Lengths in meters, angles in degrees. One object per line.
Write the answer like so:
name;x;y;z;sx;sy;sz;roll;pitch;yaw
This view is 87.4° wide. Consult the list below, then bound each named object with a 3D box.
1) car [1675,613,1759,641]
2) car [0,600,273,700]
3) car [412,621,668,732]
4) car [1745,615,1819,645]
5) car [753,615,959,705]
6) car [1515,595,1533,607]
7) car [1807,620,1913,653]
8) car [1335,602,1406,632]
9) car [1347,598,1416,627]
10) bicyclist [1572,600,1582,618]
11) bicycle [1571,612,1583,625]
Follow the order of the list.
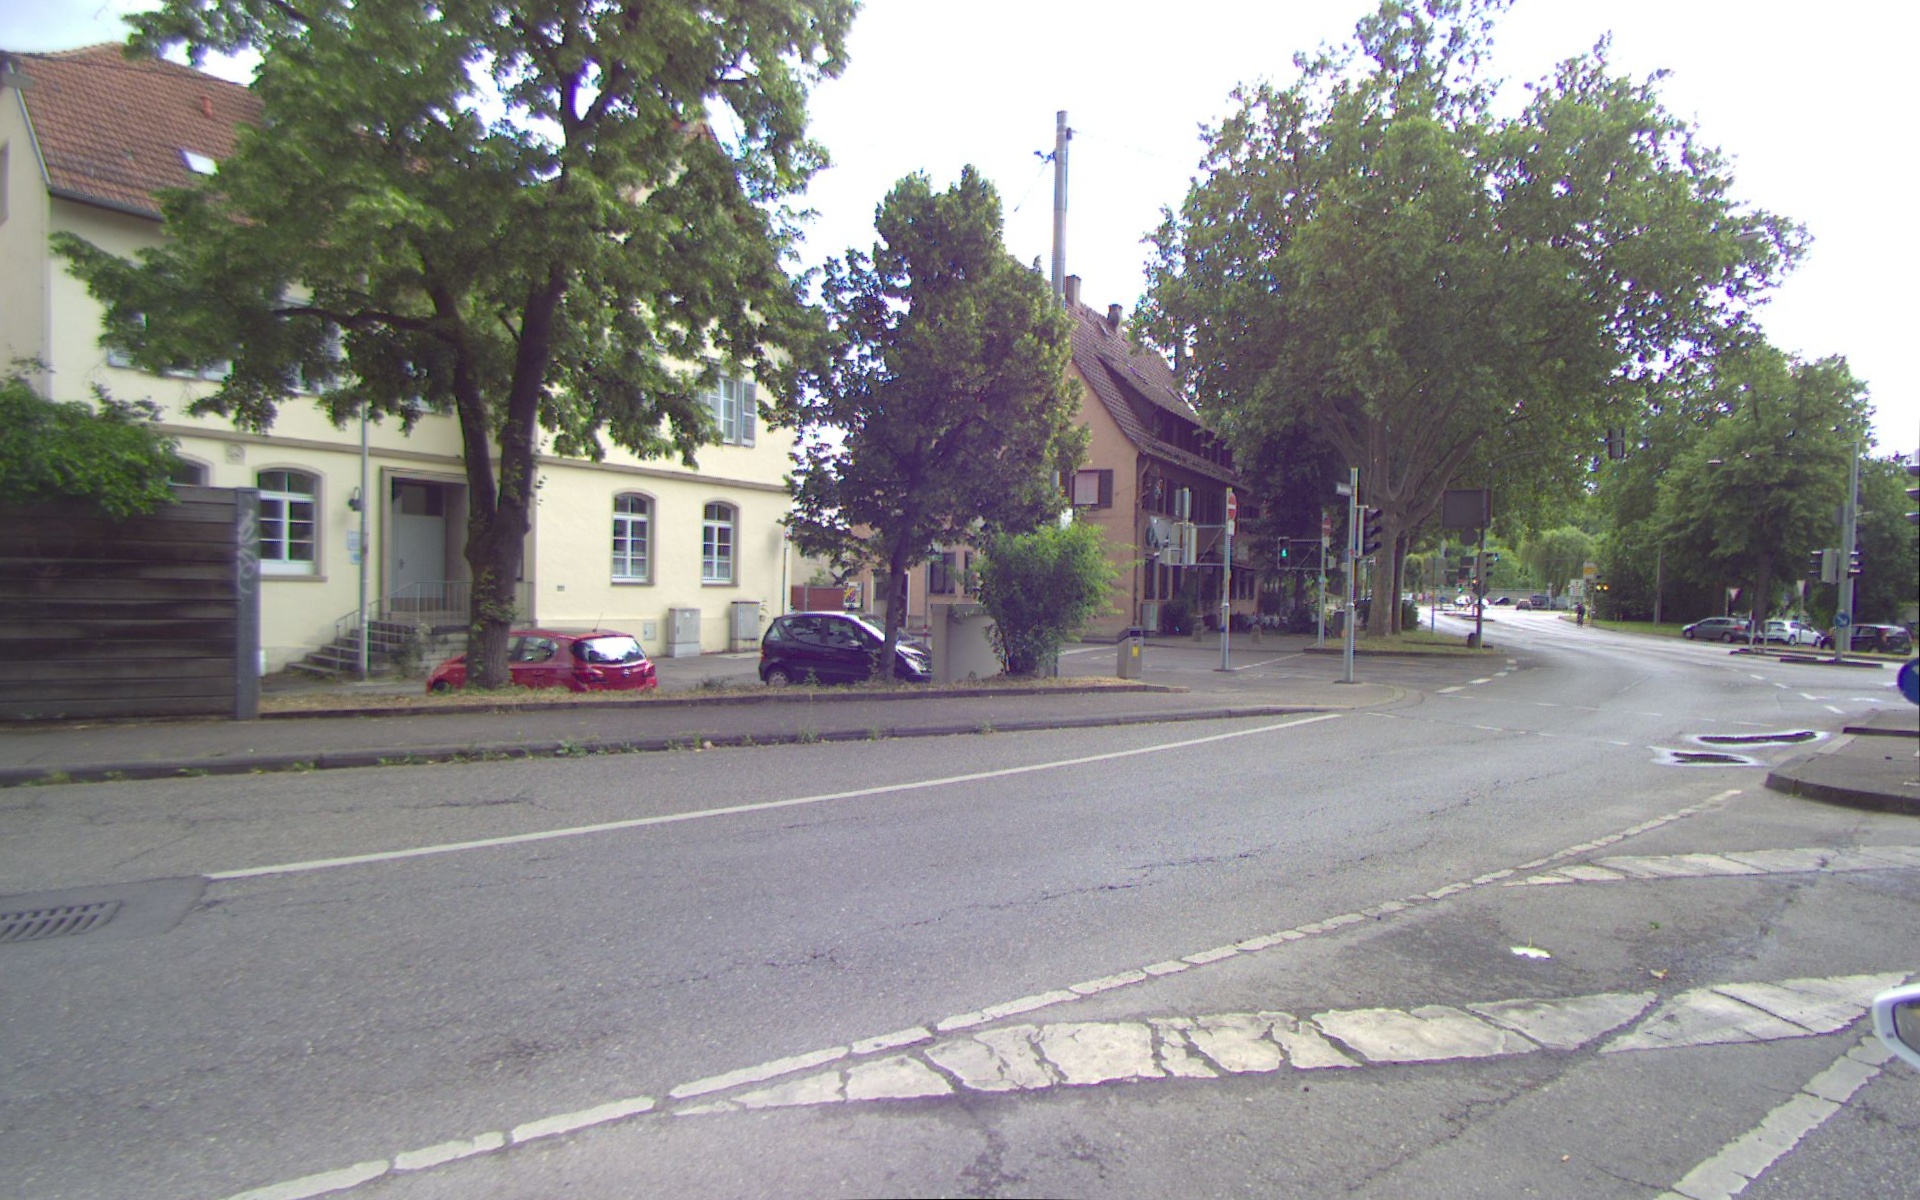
car;44.920;1.601;59.702;1.594;1.485;3.775;1;0;-14
car;-14.143;0.796;17.345;1.584;1.499;3.425;2;0;35
car;-6.514;1.099;15.561;3.650;1.401;1.660;2;0;26
car;48.595;1.755;59.365;3.700;1.662;1.857;1;0;-23
car;-1.956;1.076;19.051;3.505;1.459;1.645;2;0;23
car;80.435;0.196;143.280;1.962;1.617;3.997;2;0;25
car;41.395;1.655;46.303;1.747;1.370;3.324;2;0;-6
car;24.952;1.014;61.174;3.922;1.706;1.999;1;0;22
car;26.547;0.756;63.359;3.922;1.706;1.999;1;0;22
bicyclist;46.689;0.683;75.989;0.531;1.360;0.713;2;1;27
bicycle;46.698;1.374;76.053;0.547;0.971;2.031;2;0;26
